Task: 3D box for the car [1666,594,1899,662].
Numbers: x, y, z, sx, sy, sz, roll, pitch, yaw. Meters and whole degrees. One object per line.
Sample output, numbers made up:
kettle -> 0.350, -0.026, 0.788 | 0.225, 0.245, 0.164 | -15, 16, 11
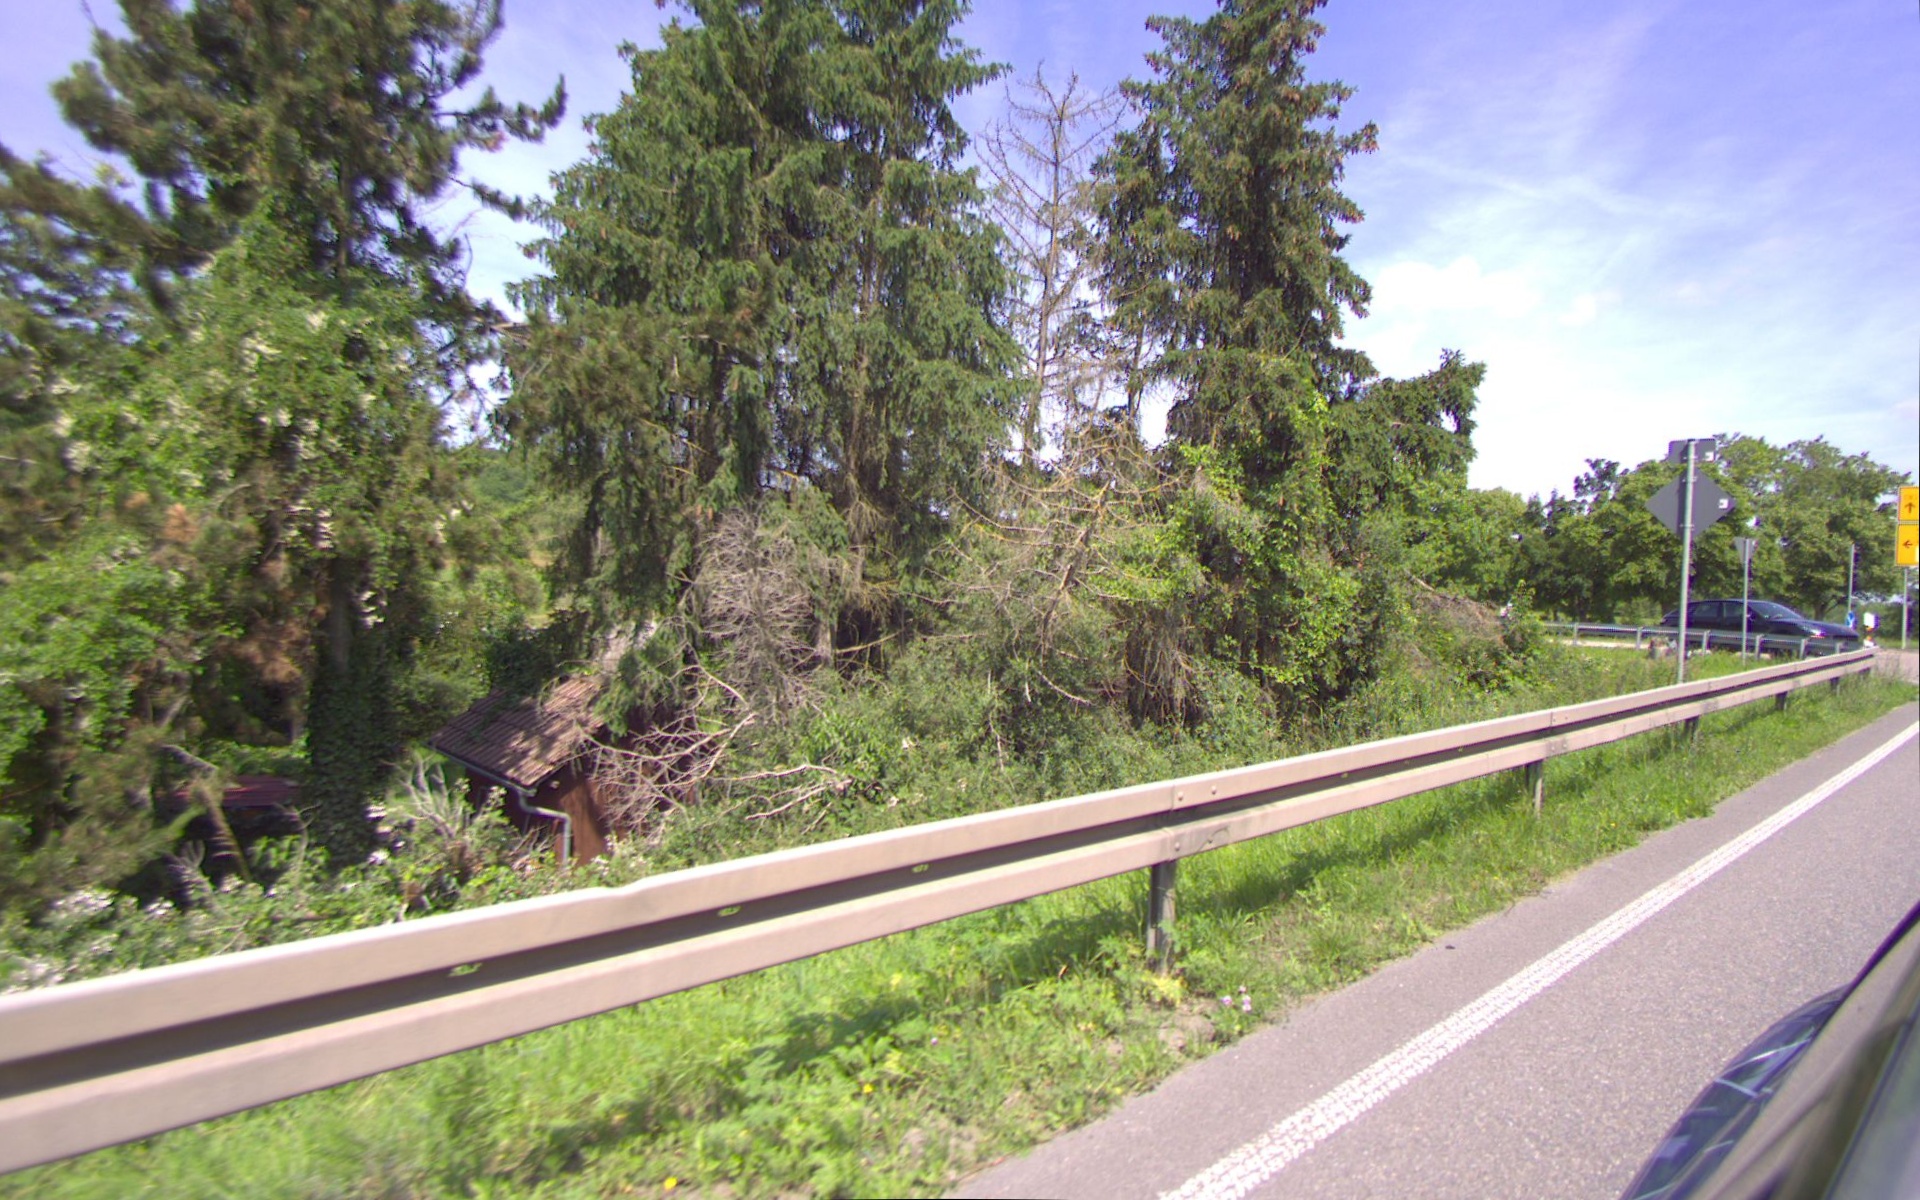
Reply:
car -> 21.566, 0.677, 26.815 | 2.021, 1.610, 4.438 | 1, 0, -15
